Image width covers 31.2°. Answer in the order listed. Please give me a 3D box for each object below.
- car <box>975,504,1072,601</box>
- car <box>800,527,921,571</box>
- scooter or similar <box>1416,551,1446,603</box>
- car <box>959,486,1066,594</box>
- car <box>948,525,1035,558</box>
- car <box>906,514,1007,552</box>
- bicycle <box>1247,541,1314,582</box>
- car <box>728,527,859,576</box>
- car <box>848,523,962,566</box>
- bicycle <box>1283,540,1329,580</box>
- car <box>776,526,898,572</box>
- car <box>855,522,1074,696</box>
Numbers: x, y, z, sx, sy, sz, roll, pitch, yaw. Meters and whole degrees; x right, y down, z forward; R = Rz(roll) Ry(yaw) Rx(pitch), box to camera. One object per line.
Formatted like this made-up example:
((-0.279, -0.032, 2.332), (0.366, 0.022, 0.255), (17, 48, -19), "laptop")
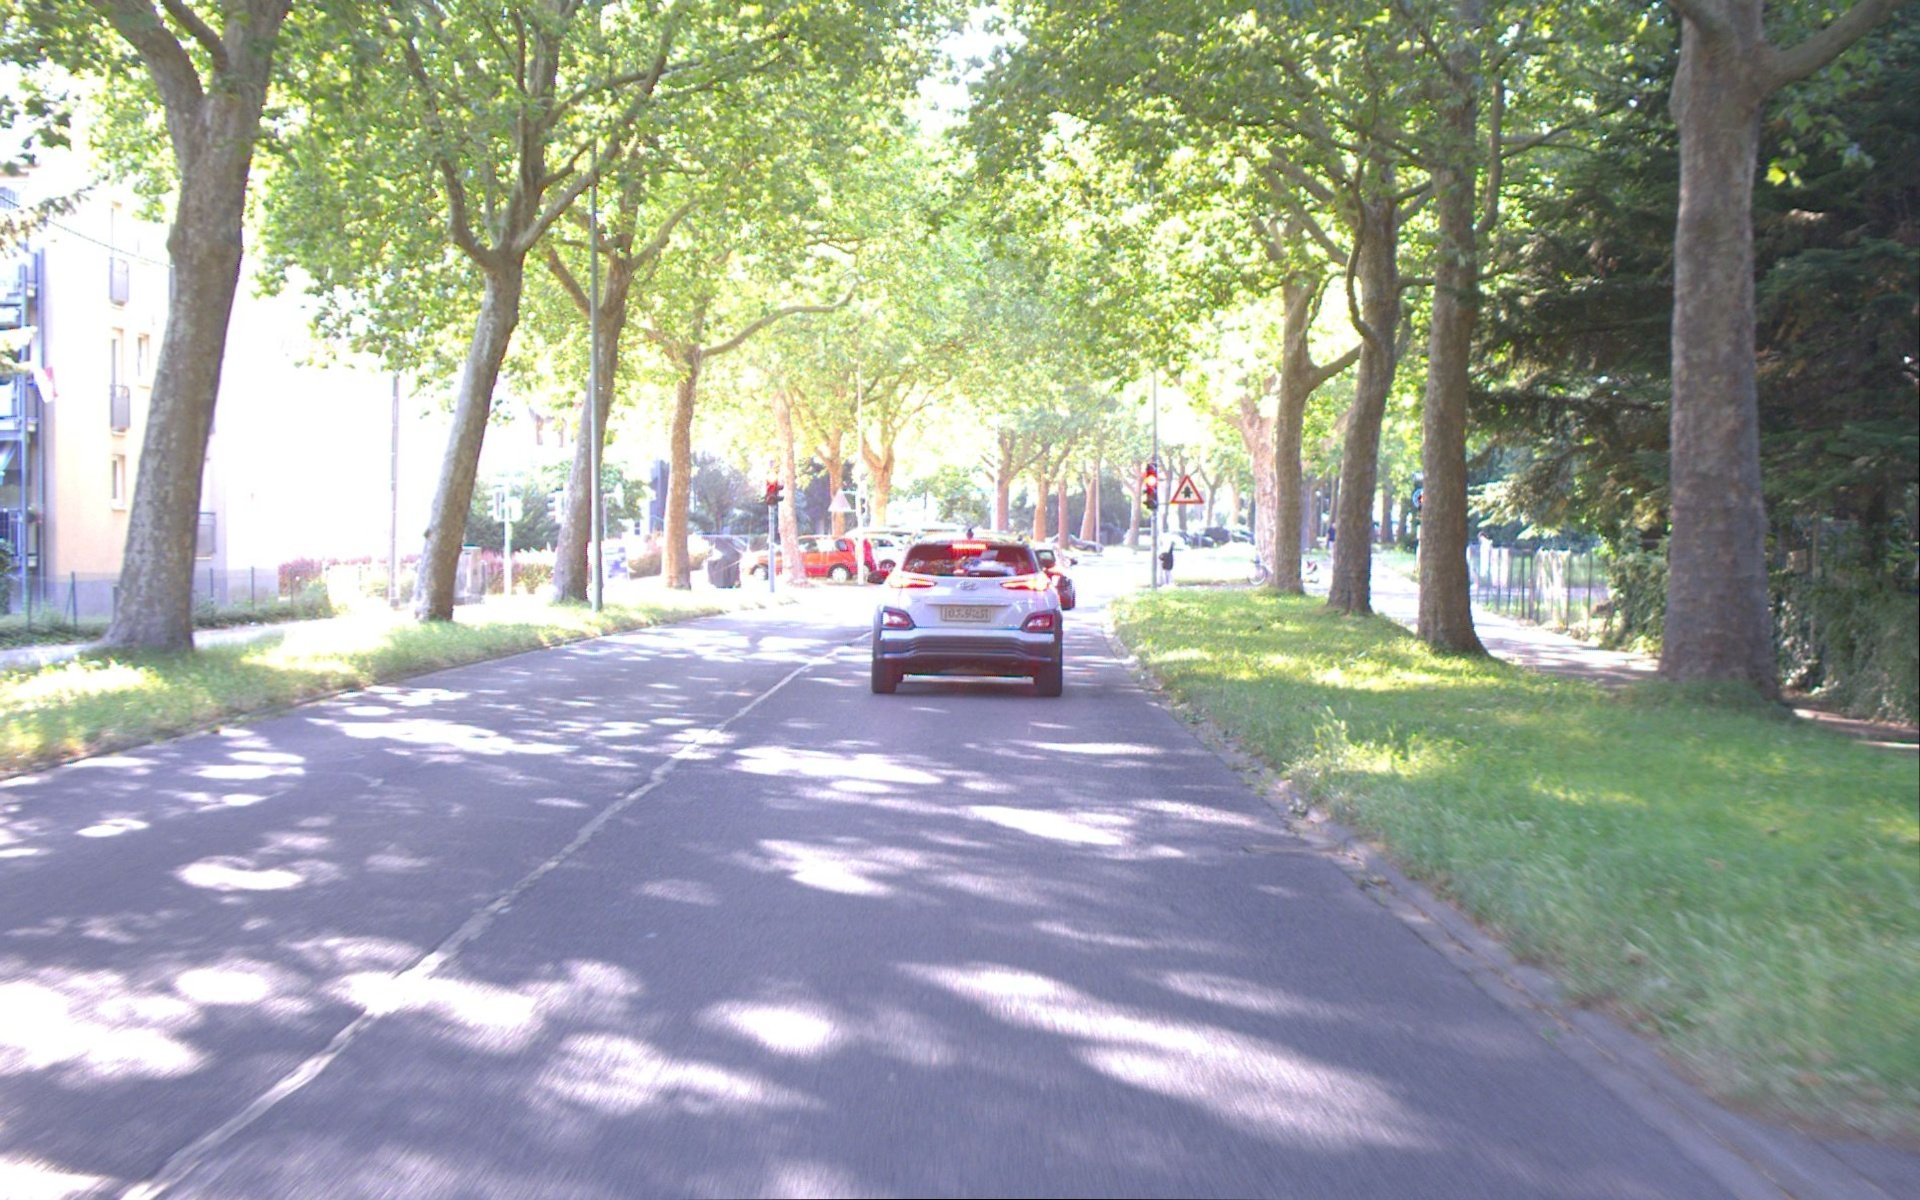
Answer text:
((1.360, -1.015, 74.174), (1.993, 2.007, 4.000), (1, 1, 1), "car")
((-3.459, -1.780, 120.249), (3.988, 1.473, 2.000), (1, 1, 6), "car")
((11.627, -0.567, 84.880), (0.549, 1.254, 2.313), (1, 1, 4), "scooter or similar")
((1.033, -1.152, 67.210), (1.993, 2.007, 4.000), (1, 1, 1), "car")
((1.494, -2.772, 162.692), (3.987, 1.473, 2.000), (1, 1, 3), "car")
((-0.134, -2.716, 139.695), (3.987, 1.473, 2.000), (1, 1, 3), "car")
((9.589, -1.156, 102.843), (0.603, 1.160, 2.149), (1, 1, -41), "bicycle")
((-5.340, -1.565, 110.452), (3.987, 1.473, 2.000), (1, 1, 3), "car")
((-2.002, -2.036, 125.524), (3.987, 1.473, 2.000), (1, 1, 3), "car")
((10.453, -1.203, 103.897), (0.603, 1.179, 2.119), (1, 1, -17), "bicycle")
((-4.195, -1.730, 117.856), (3.987, 1.473, 2.000), (1, 1, 3), "car")
((0.074, 0.059, 33.841), (1.993, 1.569, 4.000), (1, 1, 1), "car")
